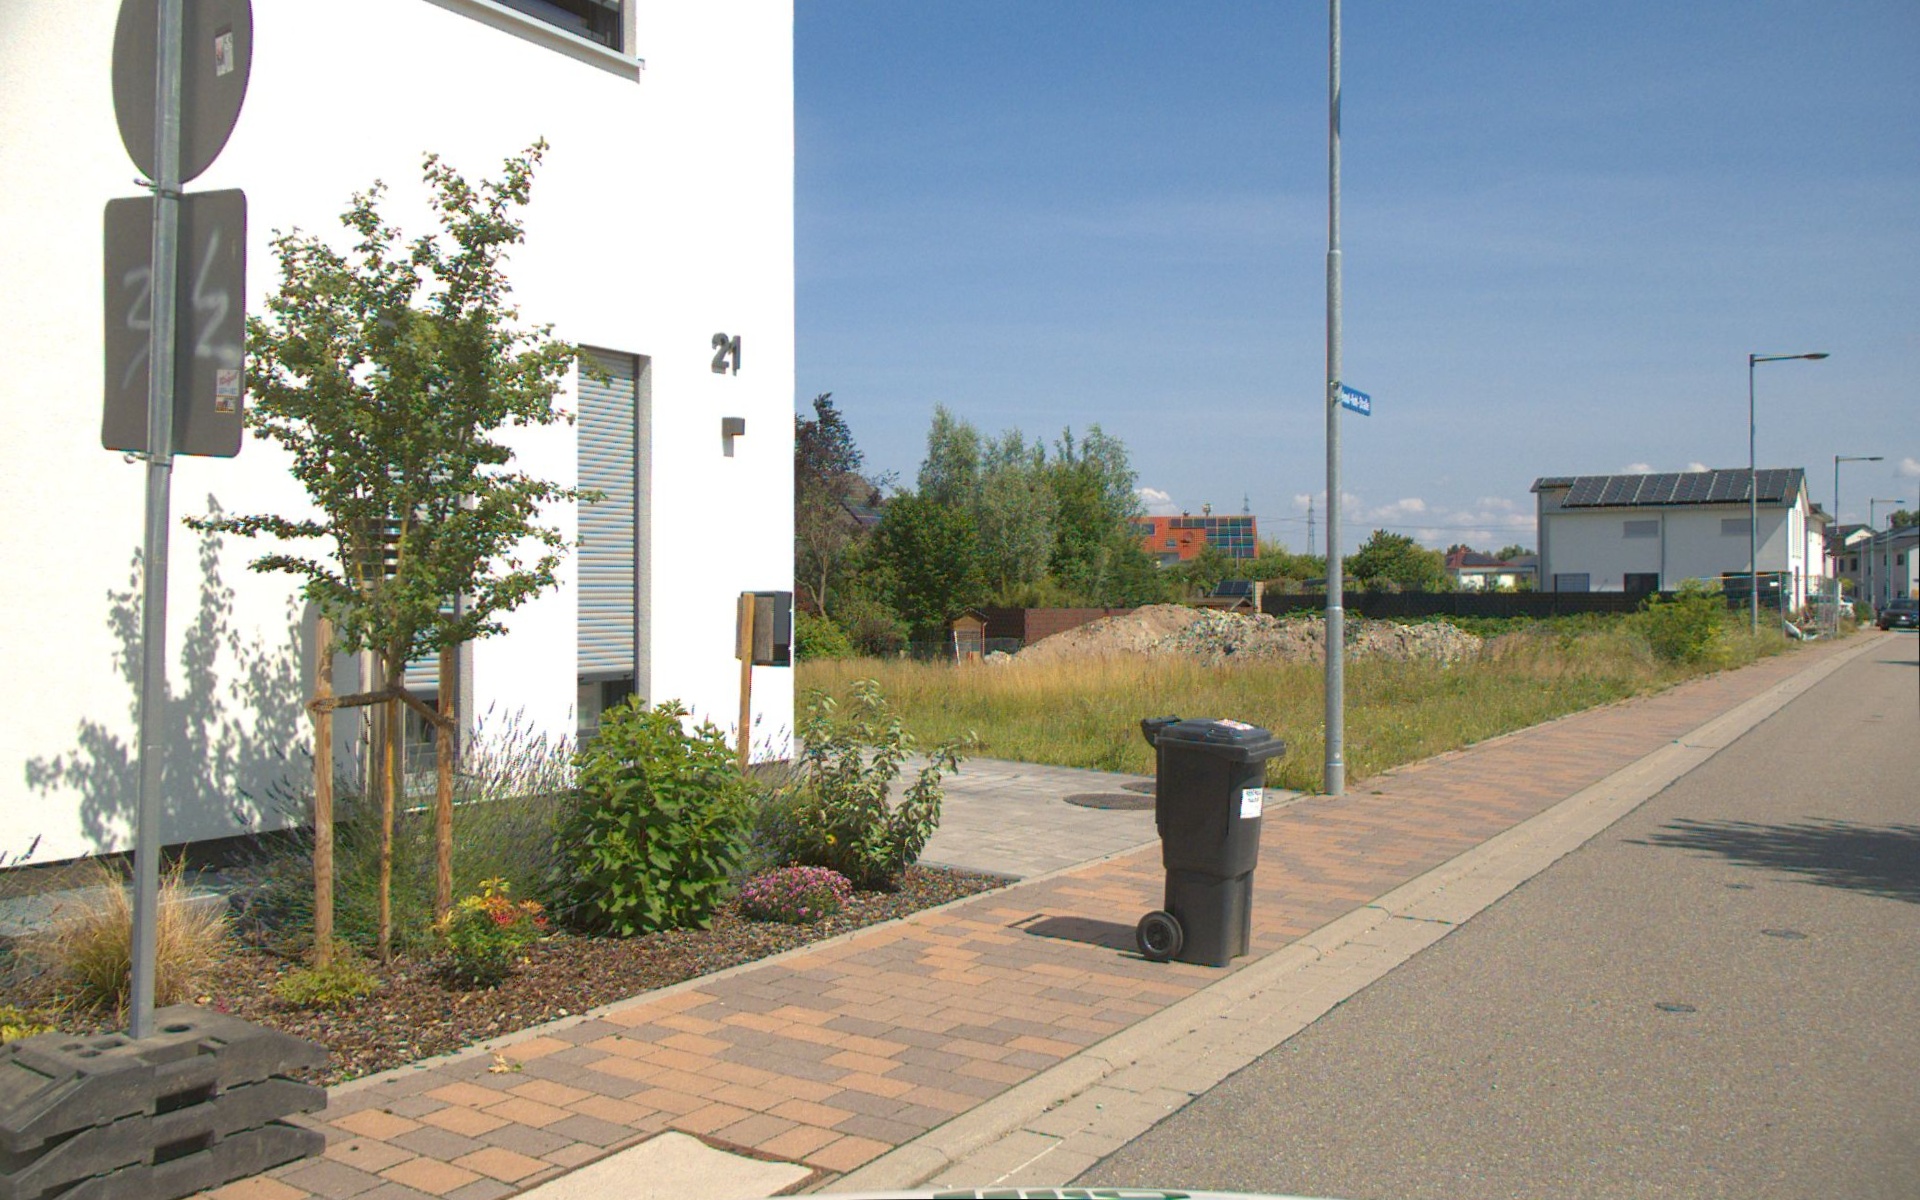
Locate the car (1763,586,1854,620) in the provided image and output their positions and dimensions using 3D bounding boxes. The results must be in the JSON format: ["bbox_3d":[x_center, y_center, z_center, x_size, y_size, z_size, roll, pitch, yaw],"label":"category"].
[{"bbox_3d":[44.338,0.132,86.450,4.003,1.609,1.776,2,2,38],"label":"car"}]

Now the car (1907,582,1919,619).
[{"bbox_3d":[53.796,0.027,91.826,1.904,2.016,4.211,0,-1,28],"label":"car"}]

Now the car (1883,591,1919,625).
[{"bbox_3d":[42.935,0.341,74.984,1.713,1.429,4.150,3,2,31],"label":"car"}]

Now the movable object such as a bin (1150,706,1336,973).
[{"bbox_3d":[1.138,0.927,6.615,0.611,0.965,0.499,0,-1,27],"label":"movable object such as a bin"}]
